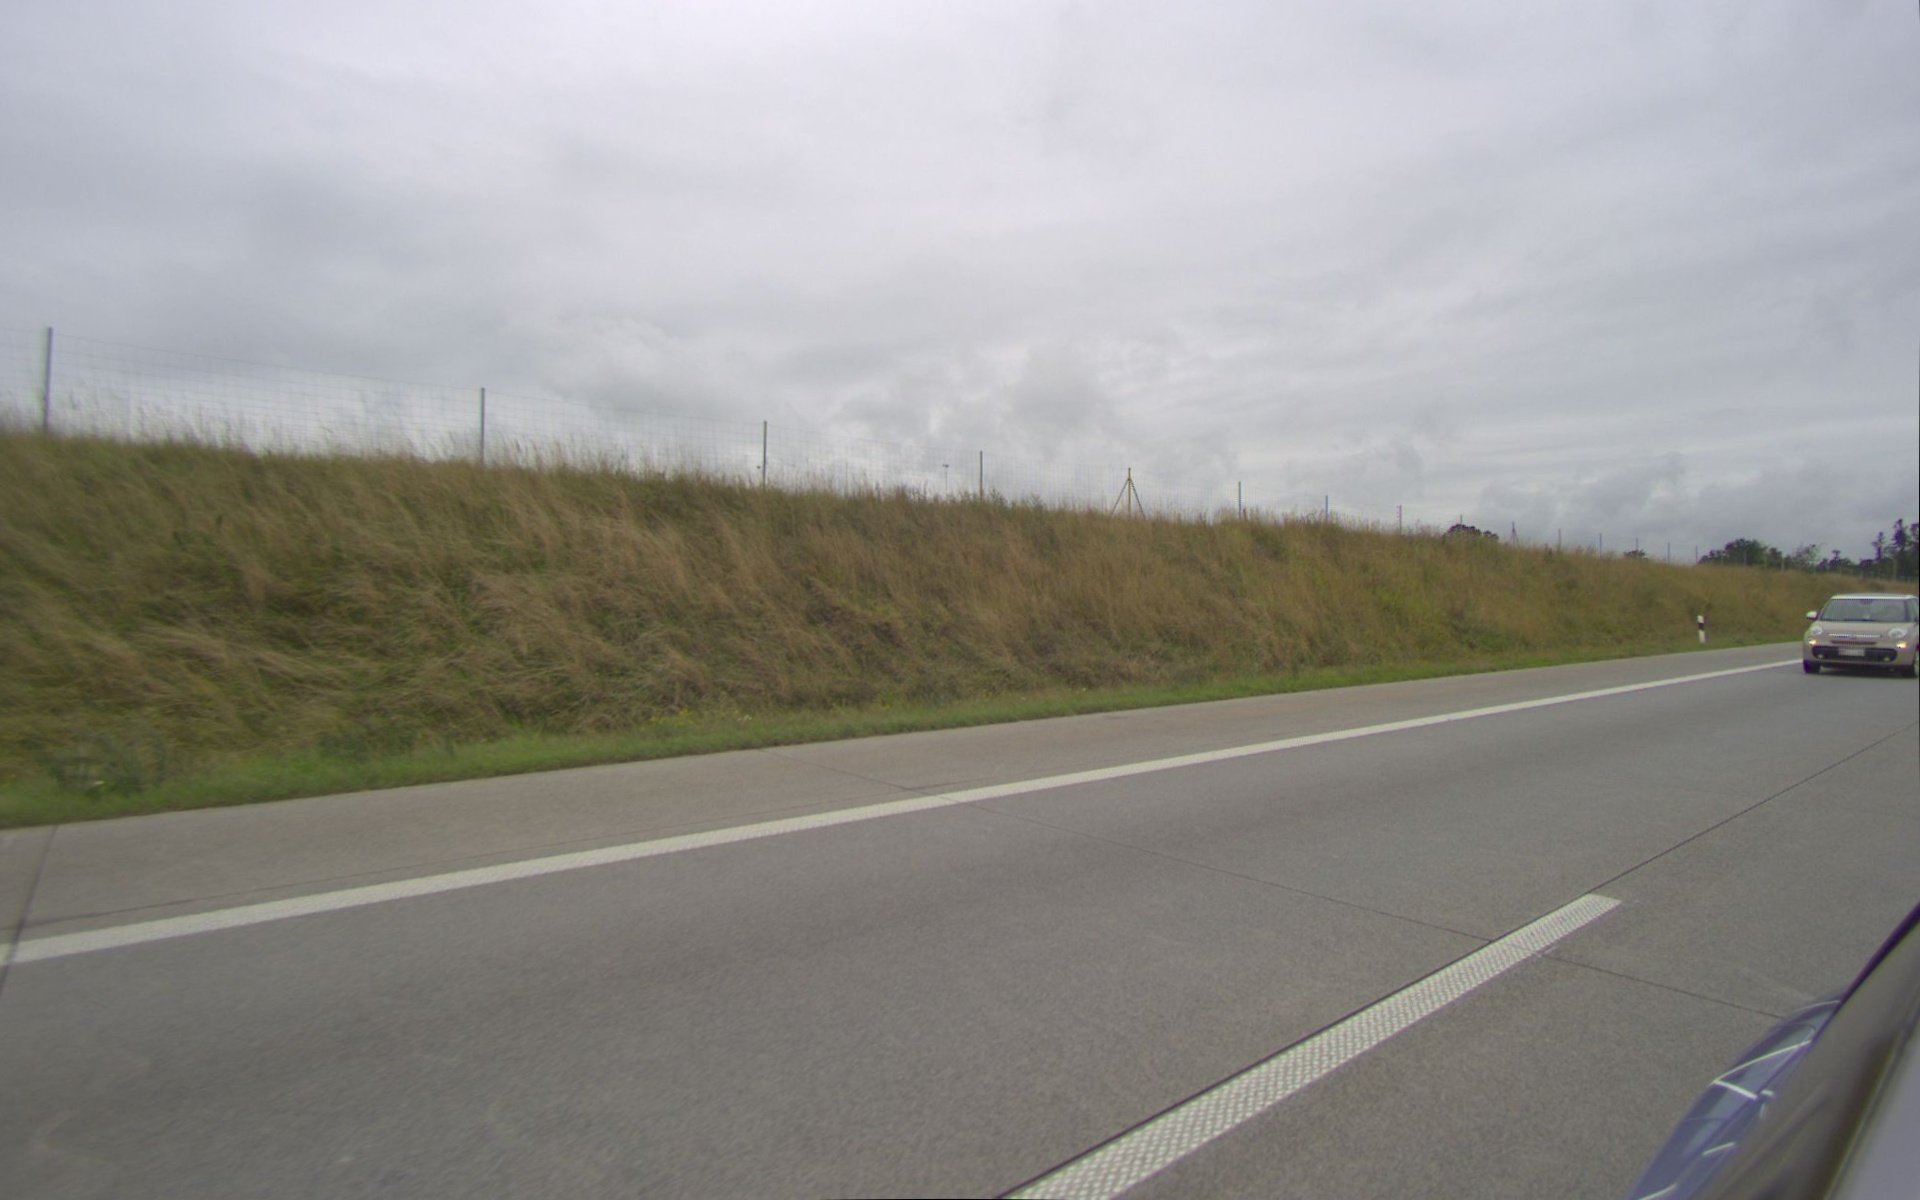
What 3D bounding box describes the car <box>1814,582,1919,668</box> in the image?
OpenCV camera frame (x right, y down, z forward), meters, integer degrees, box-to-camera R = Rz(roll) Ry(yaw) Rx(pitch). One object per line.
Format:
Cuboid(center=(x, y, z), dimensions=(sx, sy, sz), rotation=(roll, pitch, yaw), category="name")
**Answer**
Cuboid(center=(19.442, 0.483, 21.069), dimensions=(4.489, 1.625, 1.789), rotation=(1, 0, -40), category="car")
